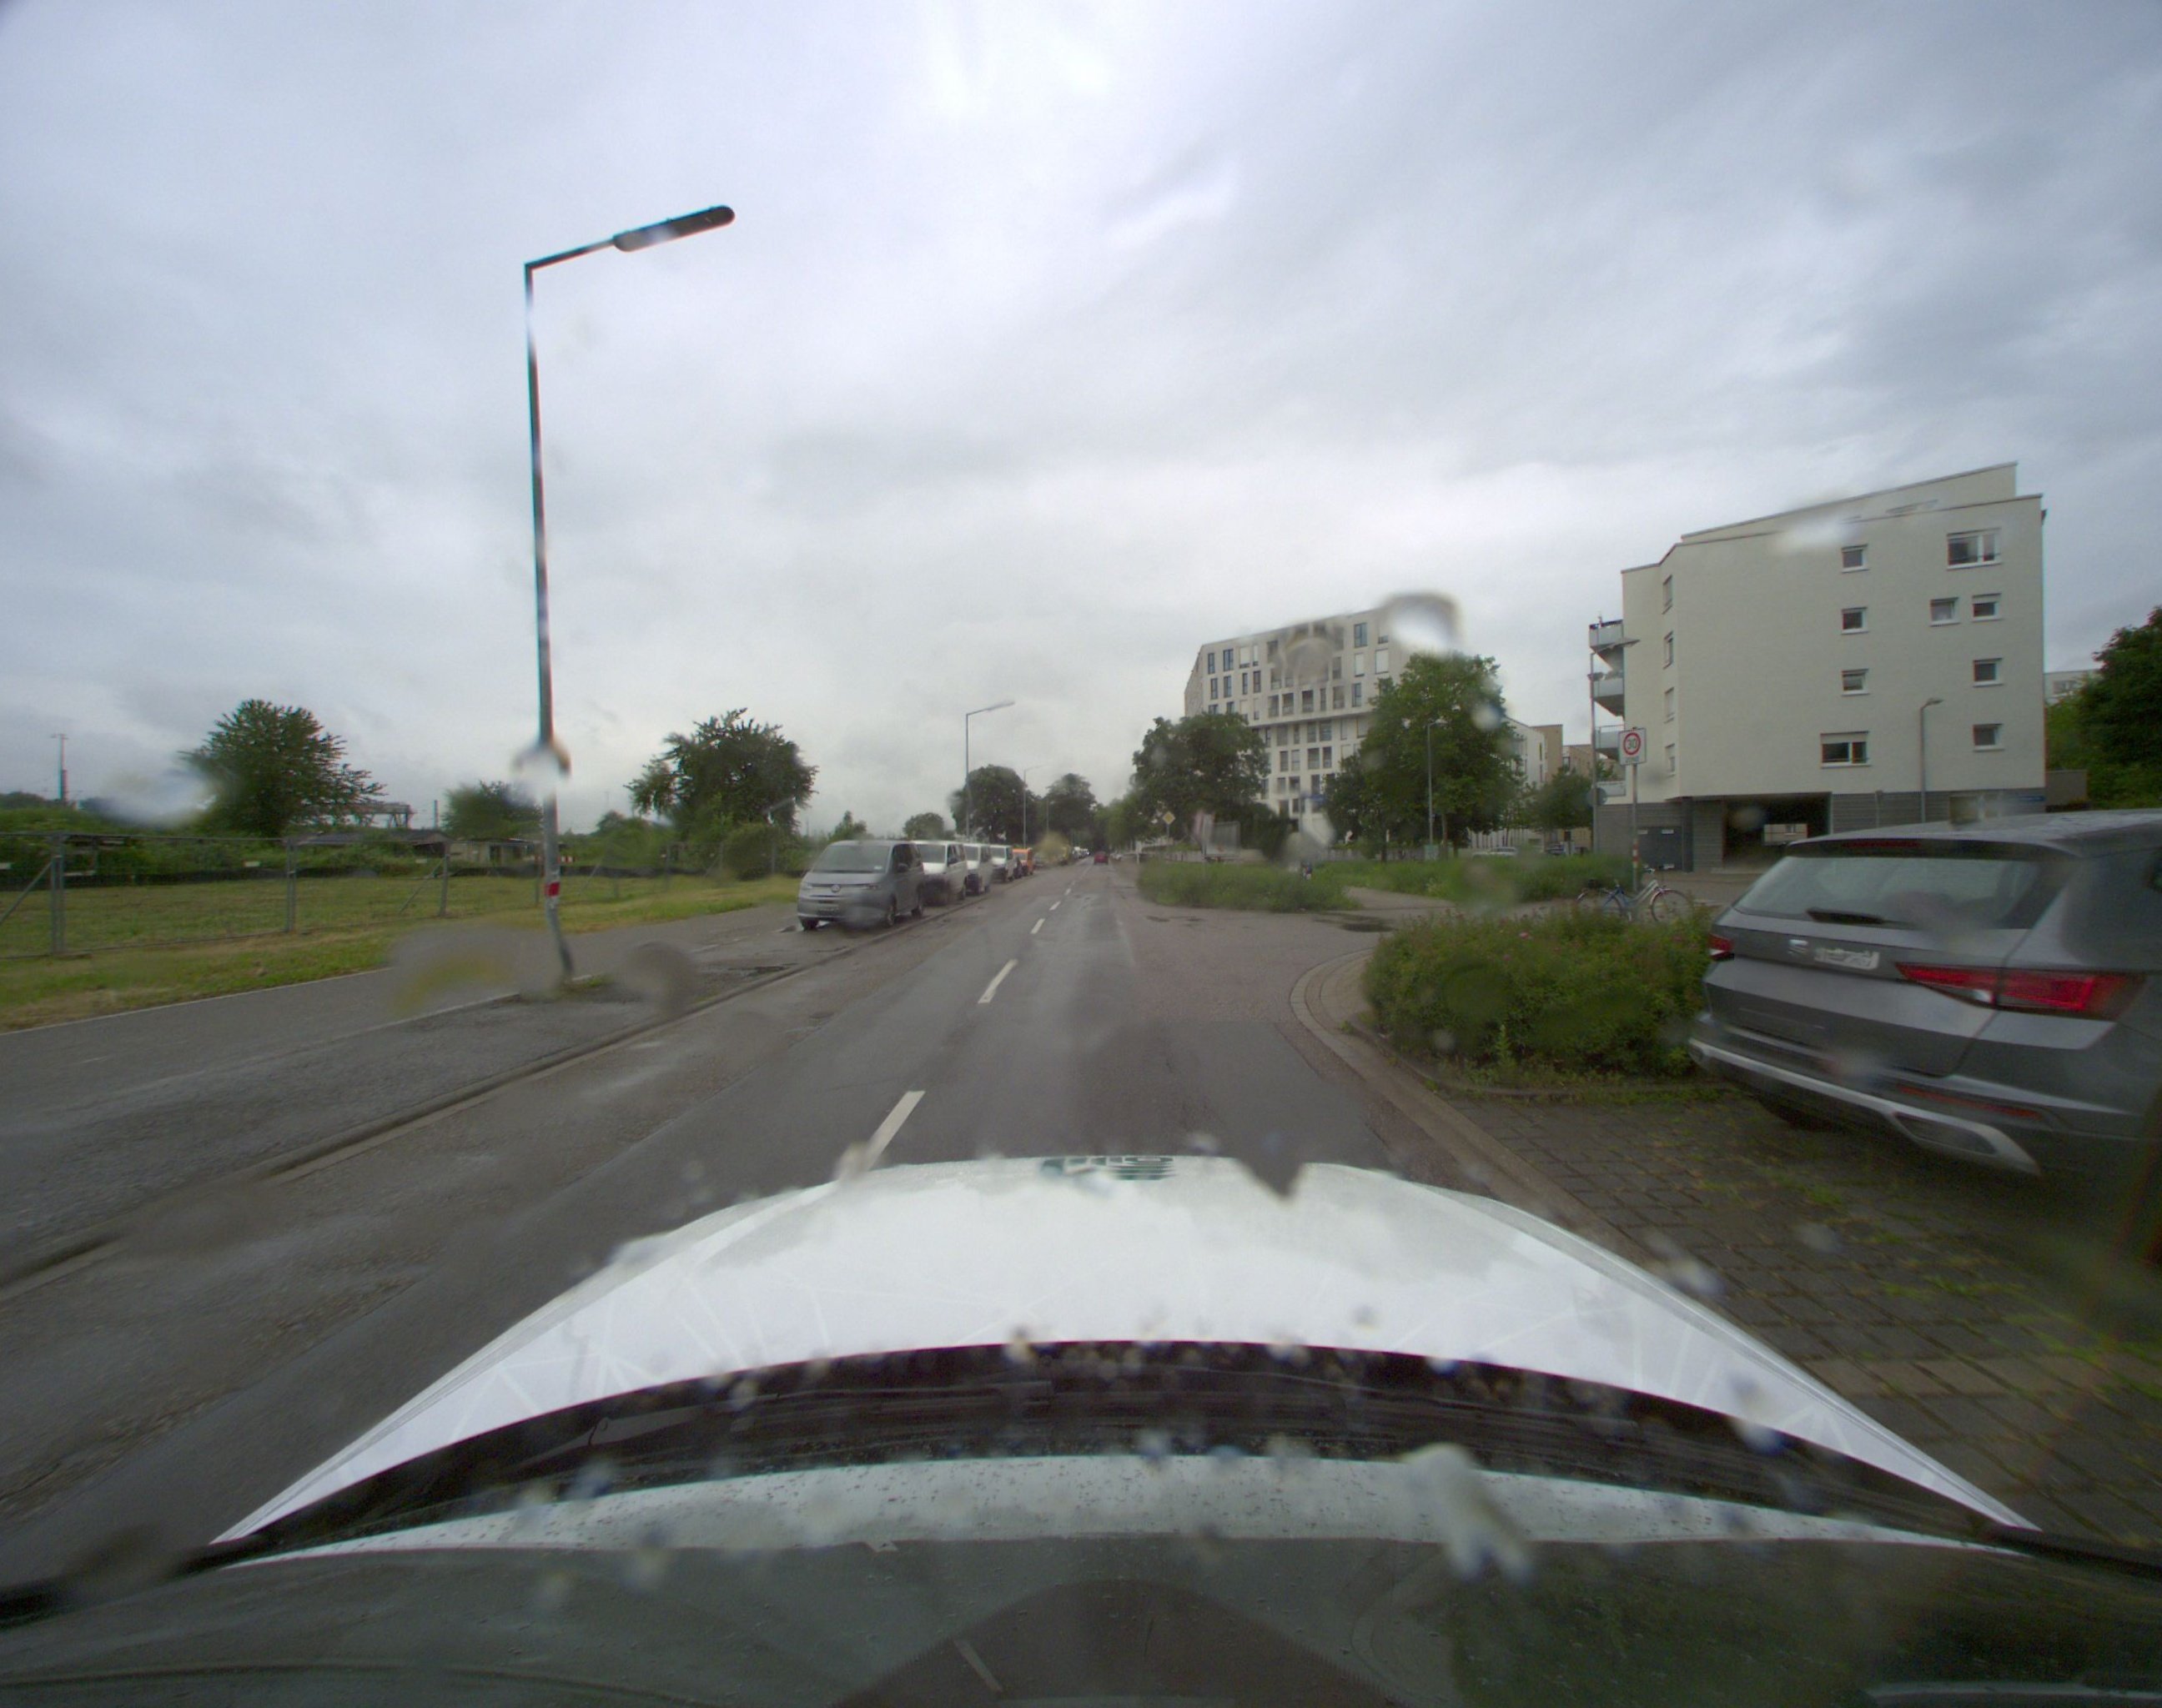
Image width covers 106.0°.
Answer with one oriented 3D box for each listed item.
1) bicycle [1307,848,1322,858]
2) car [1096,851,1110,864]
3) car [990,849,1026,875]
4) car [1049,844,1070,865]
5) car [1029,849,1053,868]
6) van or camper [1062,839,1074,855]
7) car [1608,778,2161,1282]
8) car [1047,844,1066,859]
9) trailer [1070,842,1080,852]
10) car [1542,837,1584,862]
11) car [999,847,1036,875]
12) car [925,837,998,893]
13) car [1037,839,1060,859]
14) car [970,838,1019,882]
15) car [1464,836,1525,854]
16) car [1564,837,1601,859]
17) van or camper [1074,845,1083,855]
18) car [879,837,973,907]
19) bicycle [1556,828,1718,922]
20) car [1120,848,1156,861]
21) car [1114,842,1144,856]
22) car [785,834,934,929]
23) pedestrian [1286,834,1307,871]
[{"bbox_3d":[24.055,-0.084,83.888,0.716,1.033,2.086,-1,0,40],"label":"bicycle"},{"bbox_3d":[2.789,0.423,105.911,1.750,1.705,4.001,0,0,1],"label":"car"},{"bbox_3d":[-4.453,0.473,50.105,1.678,1.502,4.893,0,1,1],"label":"car"},{"bbox_3d":[-2.855,0.008,109.090,2.183,2.694,6.086,2,0,3],"label":"car"},{"bbox_3d":[-3.495,0.358,72.223,1.797,1.561,4.034,2,1,2],"label":"car"},{"bbox_3d":[-2.319,-1.221,149.591,2.088,2.715,7.572,2,0,0],"label":"van or camper"},{"bbox_3d":[5.043,0.505,3.656,4.076,1.623,1.966,-2,0,-1],"label":"car"},{"bbox_3d":[-2.922,-0.295,97.309,1.987,1.594,5.017,2,0,0],"label":"car"},{"bbox_3d":[-1.377,-1.598,183.653,2.052,2.217,5.793,1,1,0],"label":"trailer"},{"bbox_3d":[31.955,-0.319,53.926,1.712,1.548,4.147,0,1,40],"label":"car"},{"bbox_3d":[-4.283,0.445,55.376,1.932,1.767,4.335,0,1,3],"label":"car"},{"bbox_3d":[-4.642,0.375,32.494,1.952,2.058,5.277,0,1,2],"label":"car"},{"bbox_3d":[-3.382,-0.501,85.011,2.010,1.956,6.066,1,0,1],"label":"car"},{"bbox_3d":[-4.566,0.262,43.788,1.936,2.236,5.559,0,1,1],"label":"car"},{"bbox_3d":[38.069,-0.856,75.019,4.776,1.507,1.635,2,2,42],"label":"car"},{"bbox_3d":[36.125,-0.403,58.669,1.712,1.548,4.025,0,0,40],"label":"car"},{"bbox_3d":[-0.557,-0.934,210.256,2.181,2.461,6.379,1,0,2],"label":"van or camper"},{"bbox_3d":[-4.886,0.497,26.470,1.888,2.013,5.260,0,1,2],"label":"car"},{"bbox_3d":[9.373,0.361,13.824,2.169,1.522,0.634,-1,0,21],"label":"bicycle"},{"bbox_3d":[7.253,0.053,104.289,4.472,1.481,1.692,-3,0,0],"label":"car"},{"bbox_3d":[7.481,-0.769,127.216,4.527,1.685,1.885,-5,0,-2],"label":"car"},{"bbox_3d":[-4.906,0.522,18.876,1.949,1.901,4.997,0,1,1],"label":"car"},{"bbox_3d":[12.176,-0.091,46.026,0.962,2.013,0.623,-1,1,1],"label":"pedestrian"}]
